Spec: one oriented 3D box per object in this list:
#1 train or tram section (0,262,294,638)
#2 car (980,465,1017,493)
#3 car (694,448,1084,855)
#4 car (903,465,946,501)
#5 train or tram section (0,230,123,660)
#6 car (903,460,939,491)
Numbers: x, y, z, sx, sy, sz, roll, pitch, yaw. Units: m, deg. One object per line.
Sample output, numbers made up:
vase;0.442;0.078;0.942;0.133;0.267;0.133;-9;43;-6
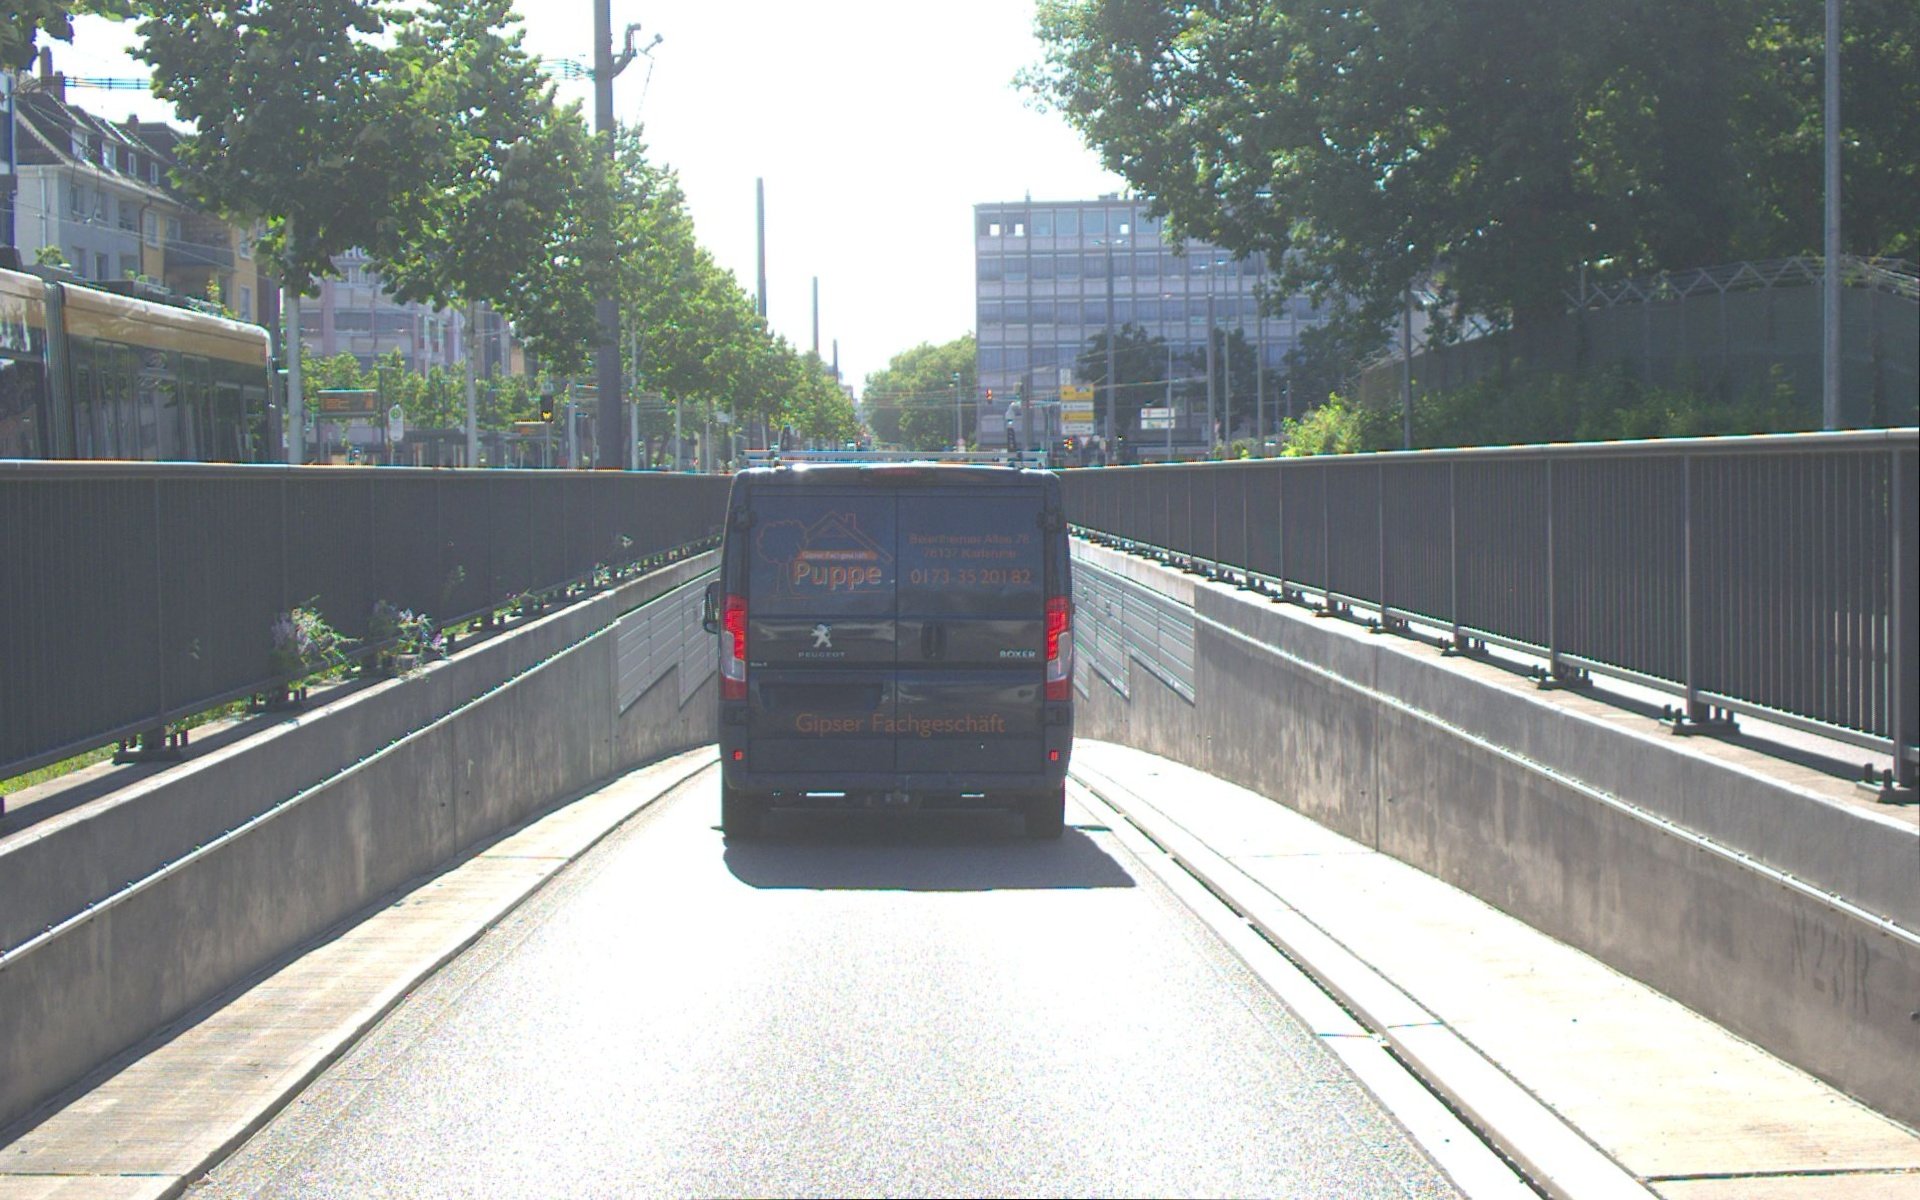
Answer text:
train or tram section;-10.015;-1.680;40.317;2.612;3.841;9.972;1;1;-1
car;2.040;-6.399;181.775;1.740;1.416;4.001;-1;2;-2
car;-0.404;0.305;21.505;2.158;2.258;4.636;0;-1;0
car;-1.562;-5.108;150.012;1.740;1.556;4.001;-1;2;-2
train or tram section;-9.801;-1.344;28.761;2.610;3.808;13.092;1;1;-1
car;-2.027;-6.484;178.822;1.740;1.556;4.001;-1;2;-2
